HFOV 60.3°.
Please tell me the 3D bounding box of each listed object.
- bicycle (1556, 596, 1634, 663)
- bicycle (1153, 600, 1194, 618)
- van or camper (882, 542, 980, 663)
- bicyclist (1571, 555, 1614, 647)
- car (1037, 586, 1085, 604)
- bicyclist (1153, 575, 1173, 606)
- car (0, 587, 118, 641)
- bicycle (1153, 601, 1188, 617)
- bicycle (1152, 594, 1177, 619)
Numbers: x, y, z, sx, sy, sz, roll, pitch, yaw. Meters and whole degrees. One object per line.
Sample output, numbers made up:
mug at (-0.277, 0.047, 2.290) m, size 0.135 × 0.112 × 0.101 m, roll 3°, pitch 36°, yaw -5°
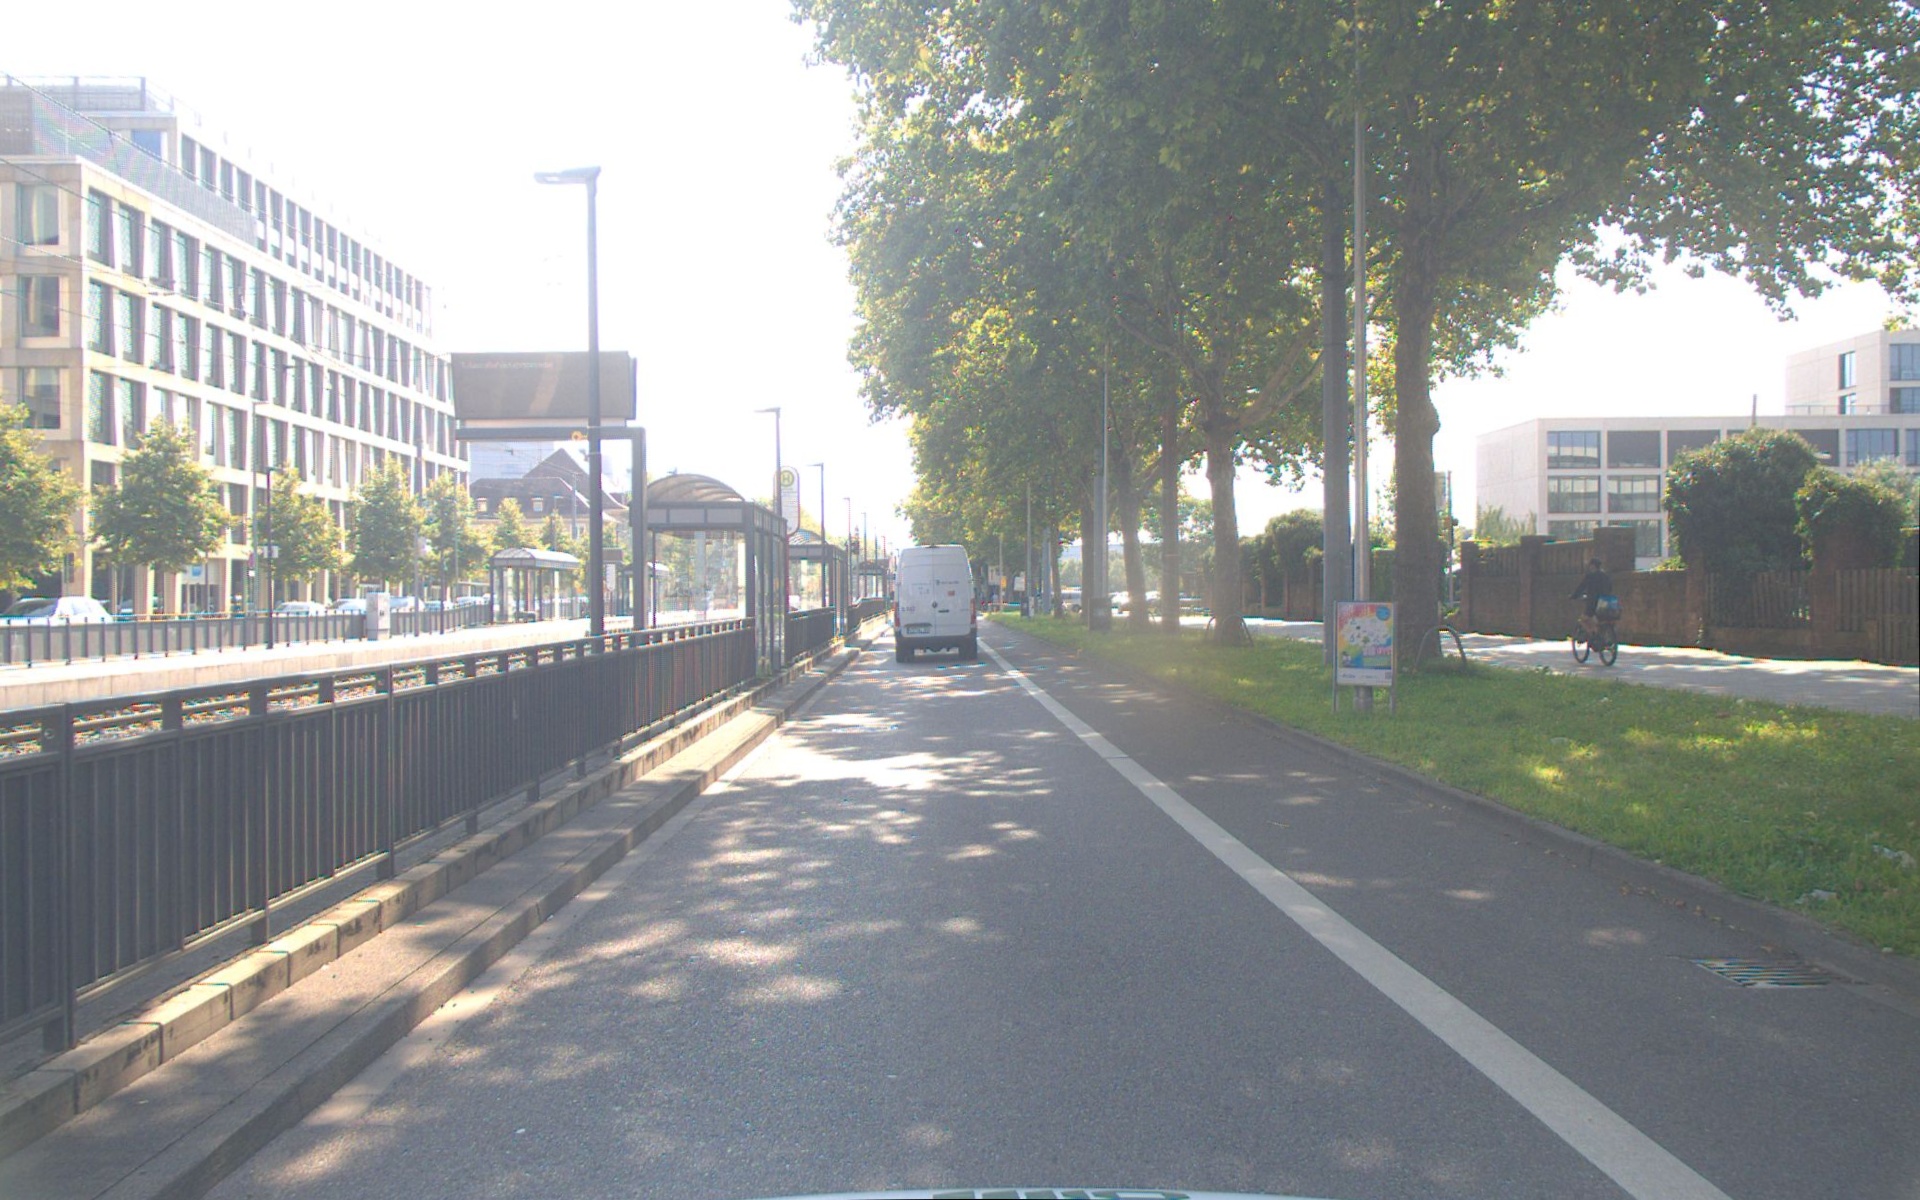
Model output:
bicycle at (10.845, 0.485, 28.306) m, size 0.481 × 1.108 × 1.856 m, roll -1°, pitch 0°, yaw -4°
bicycle at (11.477, 0.481, 88.924) m, size 2.136 × 0.861 × 0.503 m, roll -2°, pitch 0°, yaw -1°
van or camper at (-0.782, 0.048, 40.182) m, size 2.074 × 2.729 × 5.245 m, roll 1°, pitch 0°, yaw -4°
bicyclist at (10.832, 0.015, 28.335) m, size 0.460 × 1.566 × 0.596 m, roll -1°, pitch 0°, yaw -4°
car at (8.644, -0.420, 141.892) m, size 3.906 × 1.400 × 1.999 m, roll 1°, pitch -1°, yaw -2°
bicyclist at (8.568, -0.393, 69.824) m, size 0.656 × 1.298 × 0.728 m, roll -2°, pitch 0°, yaw -3°
car at (-25.586, 0.364, 46.556) m, size 1.650 × 1.432 × 4.369 m, roll -1°, pitch 0°, yaw -2°
bicycle at (11.661, 0.498, 91.724) m, size 1.893 × 0.861 × 0.372 m, roll -2°, pitch 0°, yaw -1°
bicycle at (8.611, 0.273, 69.796) m, size 0.668 × 1.022 × 2.217 m, roll -2°, pitch 0°, yaw -2°
